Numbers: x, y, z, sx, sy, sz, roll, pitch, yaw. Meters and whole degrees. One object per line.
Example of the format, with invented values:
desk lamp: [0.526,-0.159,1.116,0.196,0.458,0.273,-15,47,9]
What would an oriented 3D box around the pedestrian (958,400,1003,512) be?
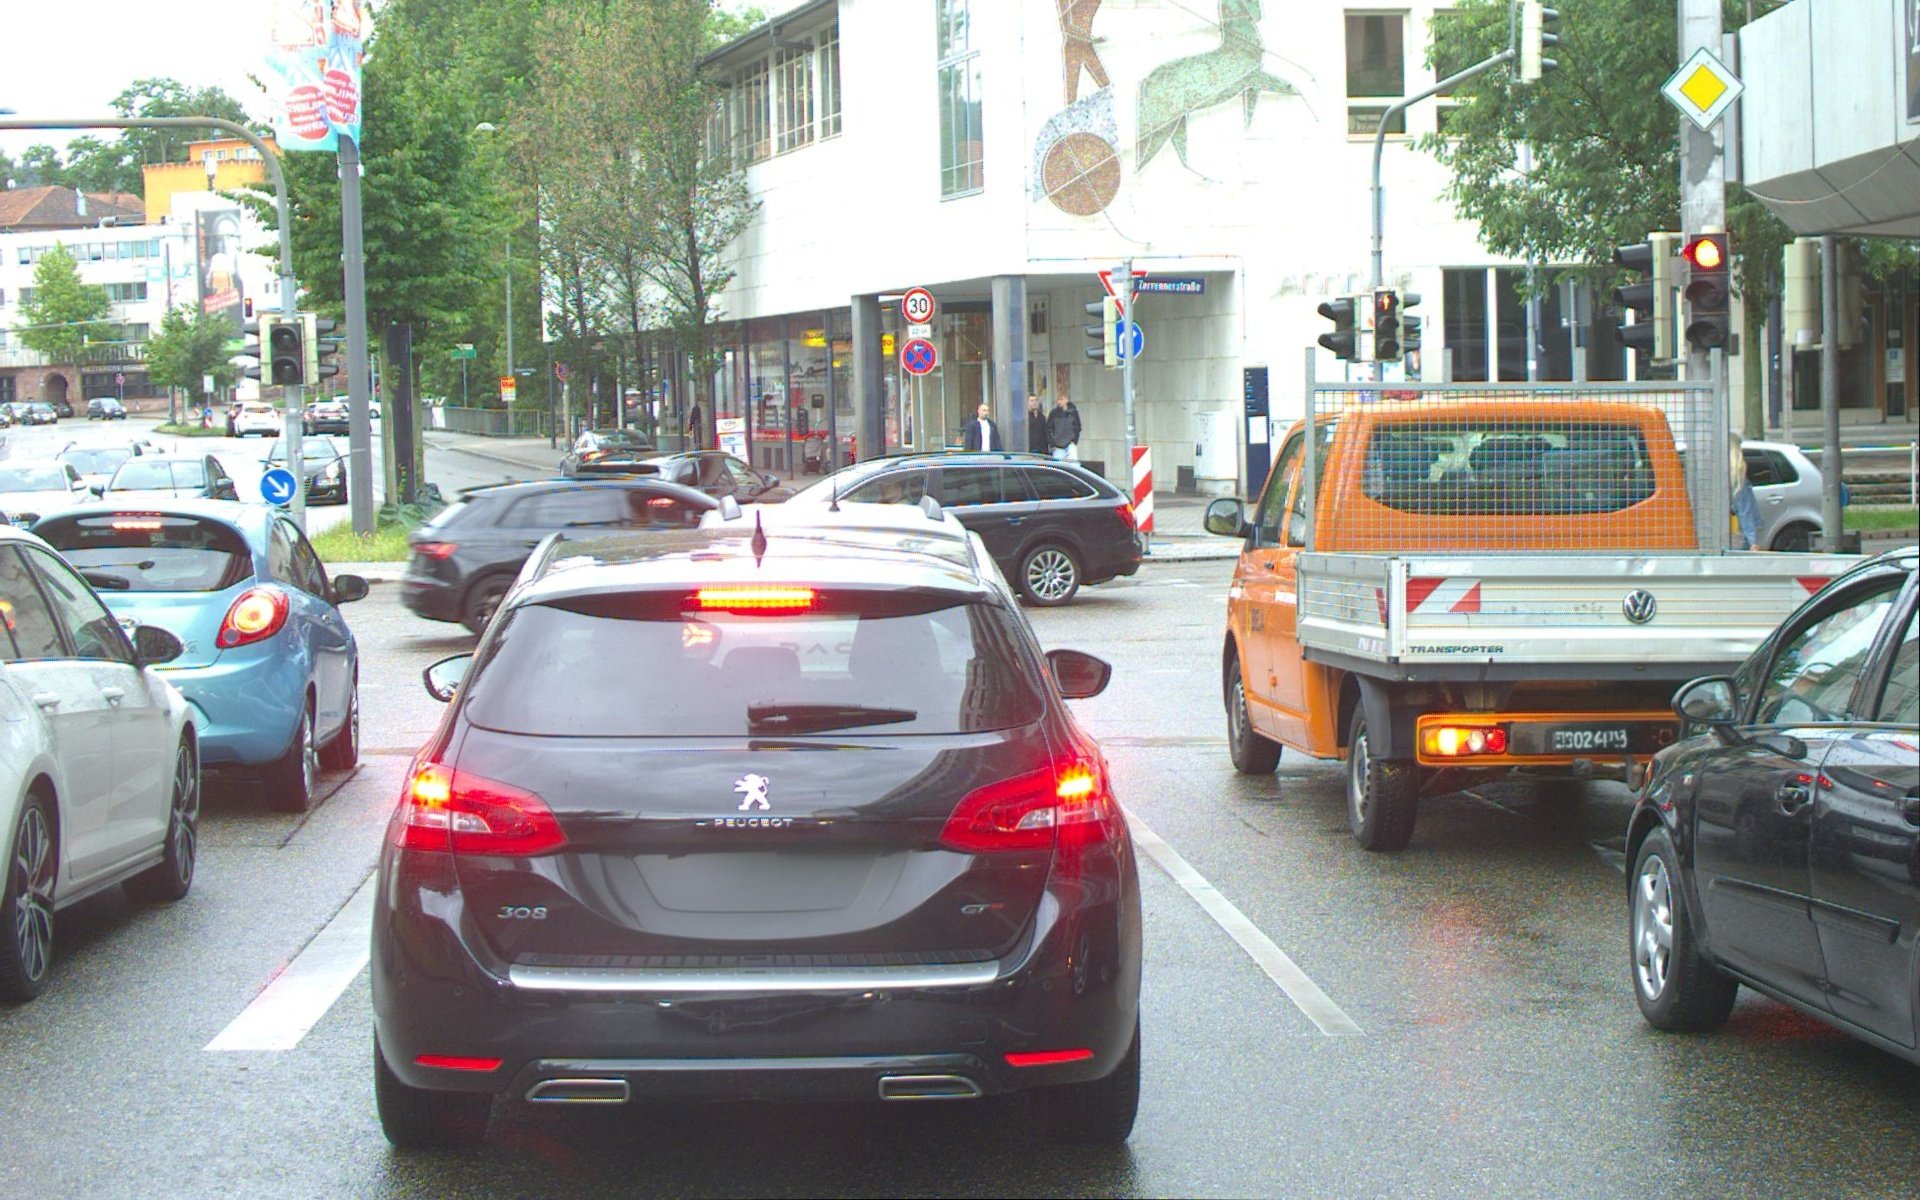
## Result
pedestrian: [0.337,-2.301,55.005,0.637,1.752,0.733,0,0,6]

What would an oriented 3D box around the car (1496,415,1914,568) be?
car: [7.694,-1.096,35.592,3.894,1.481,1.624,1,0,-12]

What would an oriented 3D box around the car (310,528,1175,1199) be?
car: [-0.532,0.552,9.035,1.777,1.424,3.843,0,2,-2]

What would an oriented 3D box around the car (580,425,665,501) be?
car: [-7.513,-3.003,76.185,1.724,1.485,4.734,1,0,-7]

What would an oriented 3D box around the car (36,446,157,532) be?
car: [-15.378,-2.002,61.342,1.632,1.481,3.611,0,2,-7]

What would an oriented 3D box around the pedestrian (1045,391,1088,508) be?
pedestrian: [1.753,-2.464,56.497,0.637,1.891,0.733,0,0,6]

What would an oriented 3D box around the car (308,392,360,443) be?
car: [-26.824,-7.805,147.215,1.705,1.929,4.001,1,0,-18]

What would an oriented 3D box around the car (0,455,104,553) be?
car: [-14.526,-1.536,54.002,1.632,1.481,3.611,0,2,-7]

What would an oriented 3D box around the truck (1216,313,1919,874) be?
truck: [2.583,-0.122,15.870,2.177,2.165,5.021,1,2,-3]

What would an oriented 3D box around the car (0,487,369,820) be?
car: [-3.981,0.190,17.507,1.632,1.481,3.610,0,2,-5]

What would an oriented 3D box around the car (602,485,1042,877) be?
car: [-0.563,0.254,15.249,1.696,1.481,3.794,1,2,-1]

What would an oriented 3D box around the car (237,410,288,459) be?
car: [-29.627,-7.019,146.020,1.705,1.875,4.001,1,0,-18]

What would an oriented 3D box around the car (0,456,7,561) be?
car: [-14.229,-1.239,47.063,1.574,1.481,3.610,0,2,-4]

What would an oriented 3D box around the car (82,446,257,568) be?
car: [-10.946,-1.260,47.825,1.744,1.574,4.000,1,0,-4]

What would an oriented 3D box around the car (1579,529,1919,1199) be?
car: [2.826,0.561,8.646,1.616,1.424,3.843,0,2,-3]

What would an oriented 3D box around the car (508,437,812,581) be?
car: [-3.557,-1.134,41.629,1.789,1.449,4.503,-1,4,21]

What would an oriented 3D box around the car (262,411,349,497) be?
car: [-13.865,-3.061,72.800,1.744,1.634,4.001,1,0,-11]

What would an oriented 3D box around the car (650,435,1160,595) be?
car: [-0.560,-0.827,33.351,4.721,1.481,1.639,0,2,-12]

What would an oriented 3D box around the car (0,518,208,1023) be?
car: [-3.733,0.455,11.466,1.777,1.424,3.843,0,2,-3]

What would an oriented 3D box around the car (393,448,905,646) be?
car: [-2.726,-0.480,29.773,4.226,1.559,1.705,-2,2,-11]

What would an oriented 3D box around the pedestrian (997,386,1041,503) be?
pedestrian: [0.971,-2.552,56.430,0.637,1.891,0.733,0,0,6]
